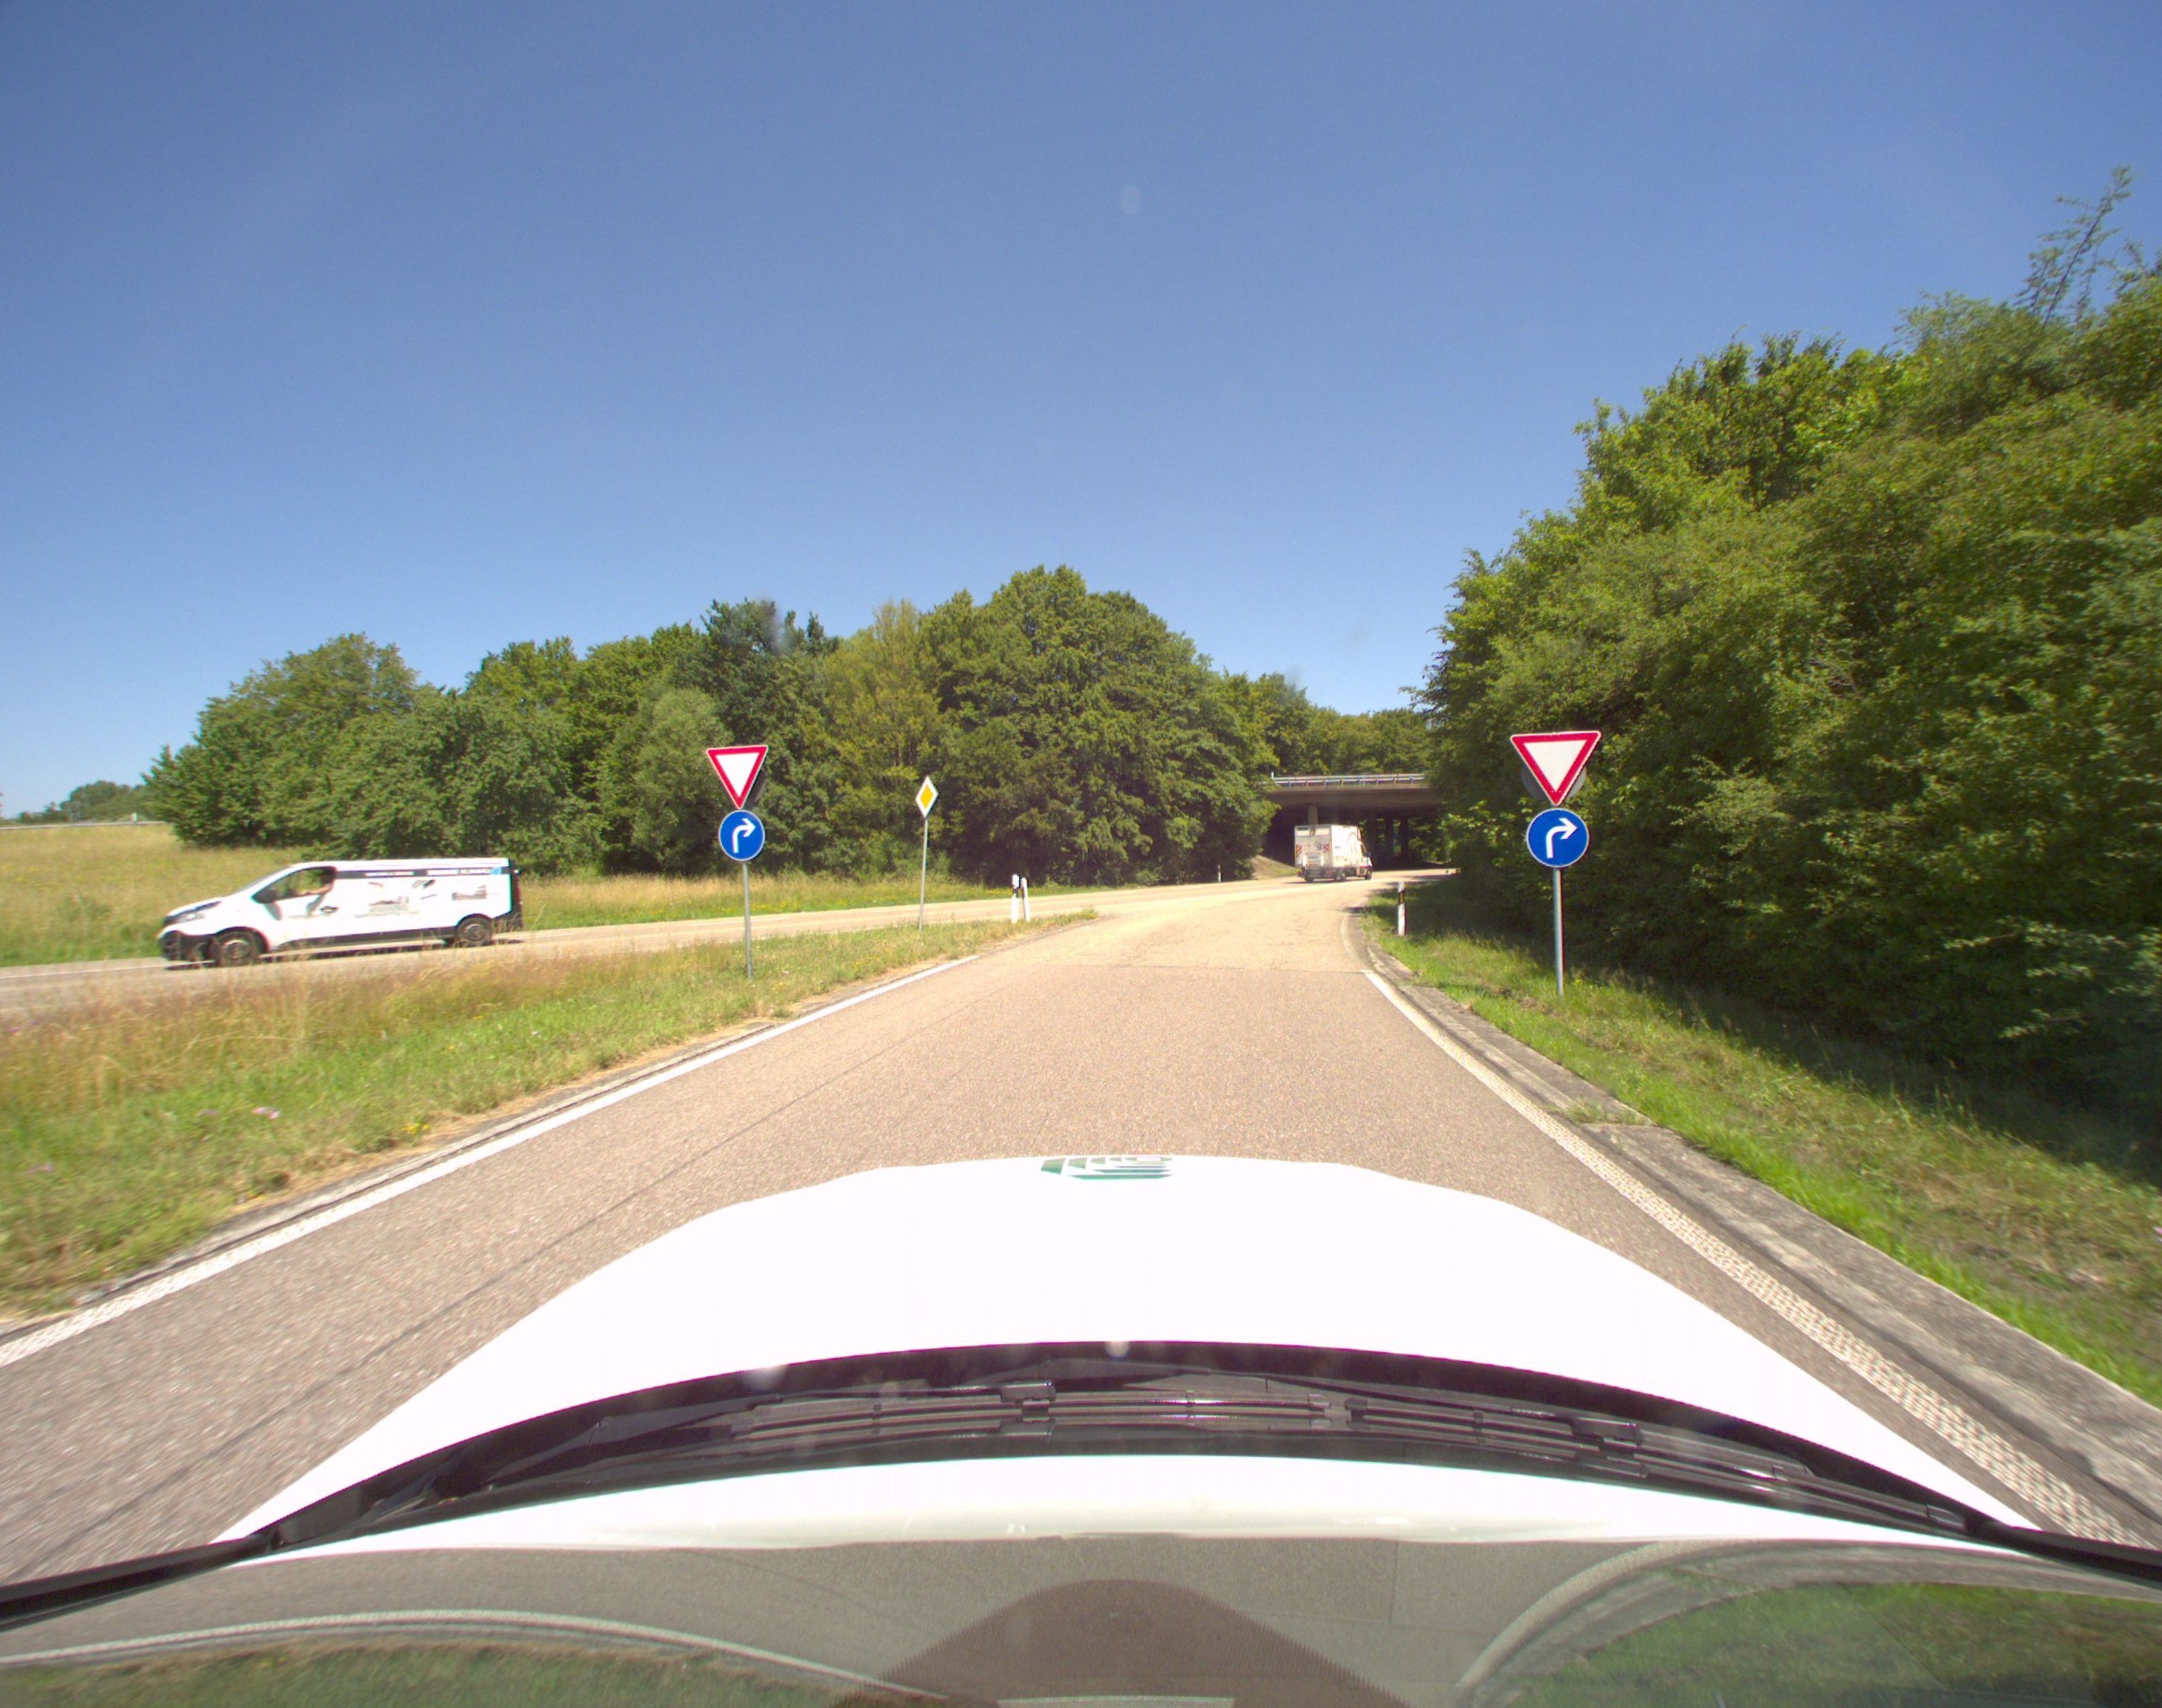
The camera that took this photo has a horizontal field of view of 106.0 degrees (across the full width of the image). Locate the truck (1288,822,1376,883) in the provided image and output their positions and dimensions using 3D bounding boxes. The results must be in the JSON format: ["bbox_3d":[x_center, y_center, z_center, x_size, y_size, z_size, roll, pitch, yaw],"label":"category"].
[{"bbox_3d":[13.417,-0.080,43.267,2.219,2.985,5.931,-2,-1,40],"label":"truck"}]

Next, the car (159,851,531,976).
[{"bbox_3d":[-14.862,1.052,16.820,1.890,1.960,5.428,-3,1,40],"label":"car"}]
